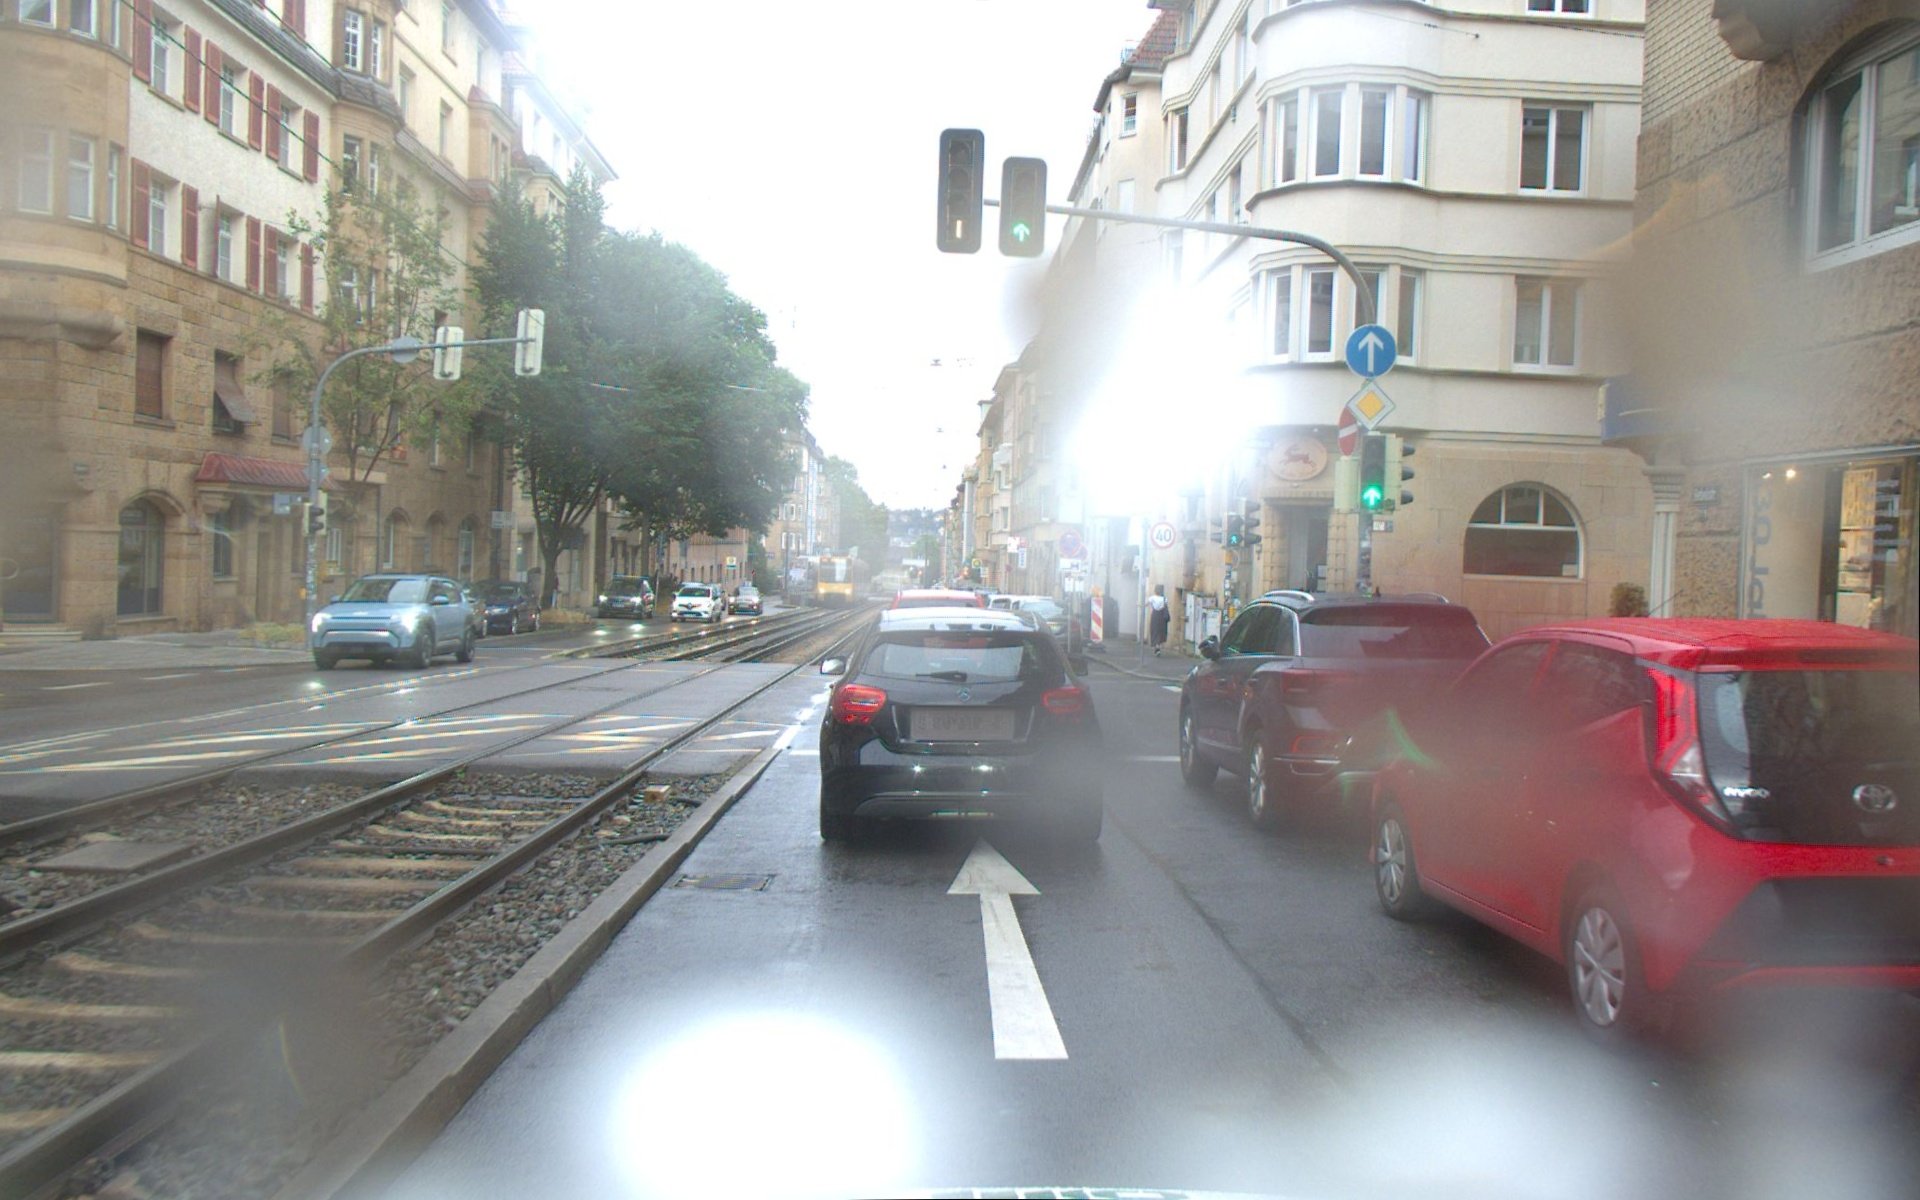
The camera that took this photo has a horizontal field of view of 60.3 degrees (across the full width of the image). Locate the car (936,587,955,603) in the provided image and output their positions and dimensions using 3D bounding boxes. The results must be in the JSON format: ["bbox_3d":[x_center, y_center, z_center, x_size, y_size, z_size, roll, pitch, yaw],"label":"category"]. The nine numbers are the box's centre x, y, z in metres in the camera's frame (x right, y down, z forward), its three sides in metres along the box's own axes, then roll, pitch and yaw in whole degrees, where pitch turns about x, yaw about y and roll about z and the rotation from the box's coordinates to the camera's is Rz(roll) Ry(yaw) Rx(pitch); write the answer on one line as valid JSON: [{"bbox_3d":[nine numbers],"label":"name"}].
[{"bbox_3d":[-1.490,-0.545,169.820,1.848,1.552,4.246,2,0,1],"label":"car"}]

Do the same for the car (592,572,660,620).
[{"bbox_3d":[-13.696,-0.190,68.064,1.914,1.772,4.777,4,1,-3],"label":"car"}]

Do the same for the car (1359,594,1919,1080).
[{"bbox_3d":[3.030,0.745,6.882,1.672,1.478,3.530,2,0,-3],"label":"car"}]

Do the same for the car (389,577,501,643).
[{"bbox_3d":[-12.942,0.255,41.777,1.656,1.556,4.173,1,0,-3],"label":"car"}]

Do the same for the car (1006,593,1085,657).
[{"bbox_3d":[2.012,0.580,39.948,1.675,1.435,4.817,1,0,0],"label":"car"}]

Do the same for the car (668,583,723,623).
[{"bbox_3d":[-10.763,0.134,67.532,1.745,1.529,4.060,1,0,-3],"label":"car"}]

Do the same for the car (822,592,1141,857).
[{"bbox_3d":[0.093,0.712,11.390,1.797,1.478,3.901,1,0,-1],"label":"car"}]

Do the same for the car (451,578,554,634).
[{"bbox_3d":[-13.012,0.172,47.332,1.745,1.485,4.976,1,0,-3],"label":"car"}]

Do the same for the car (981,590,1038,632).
[{"bbox_3d":[1.702,0.399,58.301,1.753,1.410,4.393,1,0,-1],"label":"car"}]

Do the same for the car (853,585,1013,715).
[{"bbox_3d":[-0.369,0.625,22.808,1.953,1.552,4.244,2,0,-1],"label":"car"}]

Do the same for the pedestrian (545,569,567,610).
[{"bbox_3d":[-16.836,-0.437,68.948,0.713,1.692,0.770,2,0,-2],"label":"pedestrian"}]

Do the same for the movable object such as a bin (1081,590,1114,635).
[{"bbox_3d":[4.680,0.426,56.222,0.960,1.494,1.272,1,-1,-2],"label":"movable object such as a bin"}]

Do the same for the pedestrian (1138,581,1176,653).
[{"bbox_3d":[4.720,0.407,39.615,0.788,1.717,0.754,1,-1,-2],"label":"pedestrian"}]

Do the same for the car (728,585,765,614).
[{"bbox_3d":[-11.190,-0.053,86.973,1.620,1.488,3.732,0,0,-3],"label":"car"}]

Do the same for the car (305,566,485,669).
[{"bbox_3d":[-9.850,0.301,29.154,1.883,1.646,4.126,1,0,-3],"label":"car"}]

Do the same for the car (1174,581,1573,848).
[{"bbox_3d":[2.790,0.697,12.120,1.830,1.576,3.990,2,0,-1],"label":"car"}]

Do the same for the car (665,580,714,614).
[{"bbox_3d":[-13.975,-0.175,85.534,1.922,1.633,4.327,2,1,-2],"label":"car"}]

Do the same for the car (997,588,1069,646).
[{"bbox_3d":[1.954,0.456,45.316,1.677,1.493,4.772,1,0,-1],"label":"car"}]

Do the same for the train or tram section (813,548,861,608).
[{"bbox_3d":[-8.959,-1.579,122.102,2.690,4.132,17.208,1,0,-2],"label":"train or tram section"}]

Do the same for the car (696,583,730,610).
[{"bbox_3d":[-14.072,-0.211,94.355,1.540,1.492,3.043,2,1,-3],"label":"car"}]

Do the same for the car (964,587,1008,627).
[{"bbox_3d":[1.122,0.311,70.952,1.803,1.636,4.761,1,0,1],"label":"car"}]

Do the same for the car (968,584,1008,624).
[{"bbox_3d":[1.263,0.193,77.015,1.742,1.780,4.548,1,0,0],"label":"car"}]
